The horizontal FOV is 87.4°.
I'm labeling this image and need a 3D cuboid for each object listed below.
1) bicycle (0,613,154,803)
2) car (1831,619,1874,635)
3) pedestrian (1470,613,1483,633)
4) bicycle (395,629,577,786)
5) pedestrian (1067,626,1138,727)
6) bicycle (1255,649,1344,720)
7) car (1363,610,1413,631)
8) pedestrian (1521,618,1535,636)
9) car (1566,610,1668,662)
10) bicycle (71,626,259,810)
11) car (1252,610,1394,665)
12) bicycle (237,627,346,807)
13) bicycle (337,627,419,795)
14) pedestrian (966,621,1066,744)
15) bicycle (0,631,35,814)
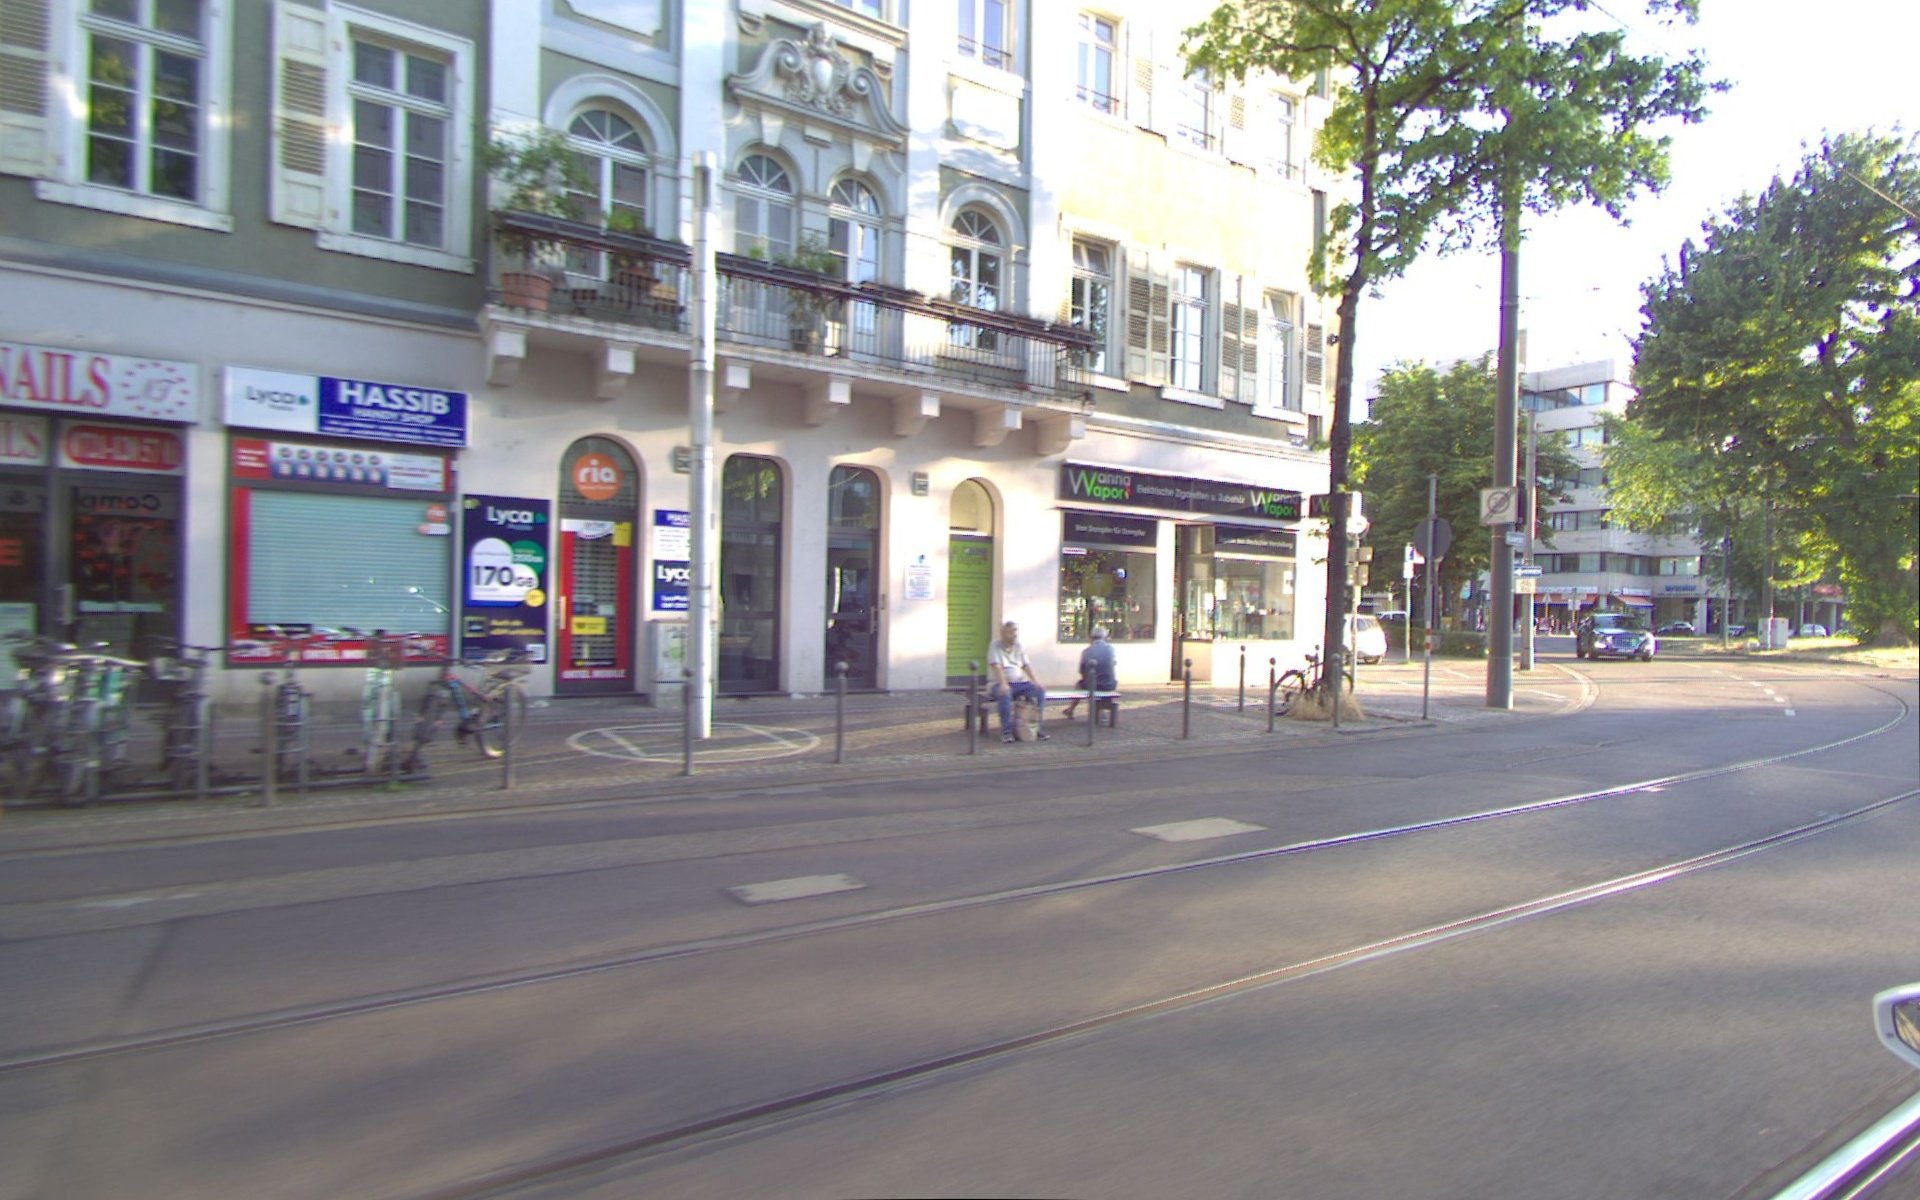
[{"bbox_3d":[-6.507,0.708,7.233,1.996,1.119,0.499,3,1,34],"label":"bicycle"},{"bbox_3d":[83.513,2.545,93.966,3.878,1.439,1.868,1,0,-30],"label":"car"},{"bbox_3d":[39.670,1.763,77.132,0.735,1.523,0.767,1,0,43],"label":"pedestrian"},{"bbox_3d":[-4.049,0.857,8.773,0.491,1.119,2.031,3,1,3],"label":"bicycle"},{"bbox_3d":[1.790,0.943,12.618,0.635,1.210,0.587,1,1,-34],"label":"pedestrian"},{"bbox_3d":[4.901,1.202,14.466,1.492,0.958,0.335,1,0,-32],"label":"bicycle"},{"bbox_3d":[37.021,1.735,86.895,3.603,1.726,1.777,1,0,-5],"label":"car"},{"bbox_3d":[50.402,2.407,89.180,0.757,1.523,0.744,1,0,-8],"label":"pedestrian"},{"bbox_3d":[23.406,1.222,35.974,1.930,1.699,4.360,1,0,18],"label":"car"},{"bbox_3d":[-6.013,0.820,7.556,1.996,1.119,0.499,3,1,34],"label":"bicycle"},{"bbox_3d":[11.336,1.122,31.598,1.709,1.535,3.964,1,0,-32],"label":"car"},{"bbox_3d":[-5.208,0.837,7.903,0.495,1.119,2.014,2,1,-28],"label":"bicycle"},{"bbox_3d":[-4.801,0.845,8.352,0.495,1.119,2.014,2,1,-28],"label":"bicycle"},{"bbox_3d":[0.635,0.902,11.392,0.848,1.308,0.723,1,1,-34],"label":"pedestrian"},{"bbox_3d":[-7.040,0.758,6.914,2.079,1.119,0.499,3,1,34],"label":"bicycle"}]
